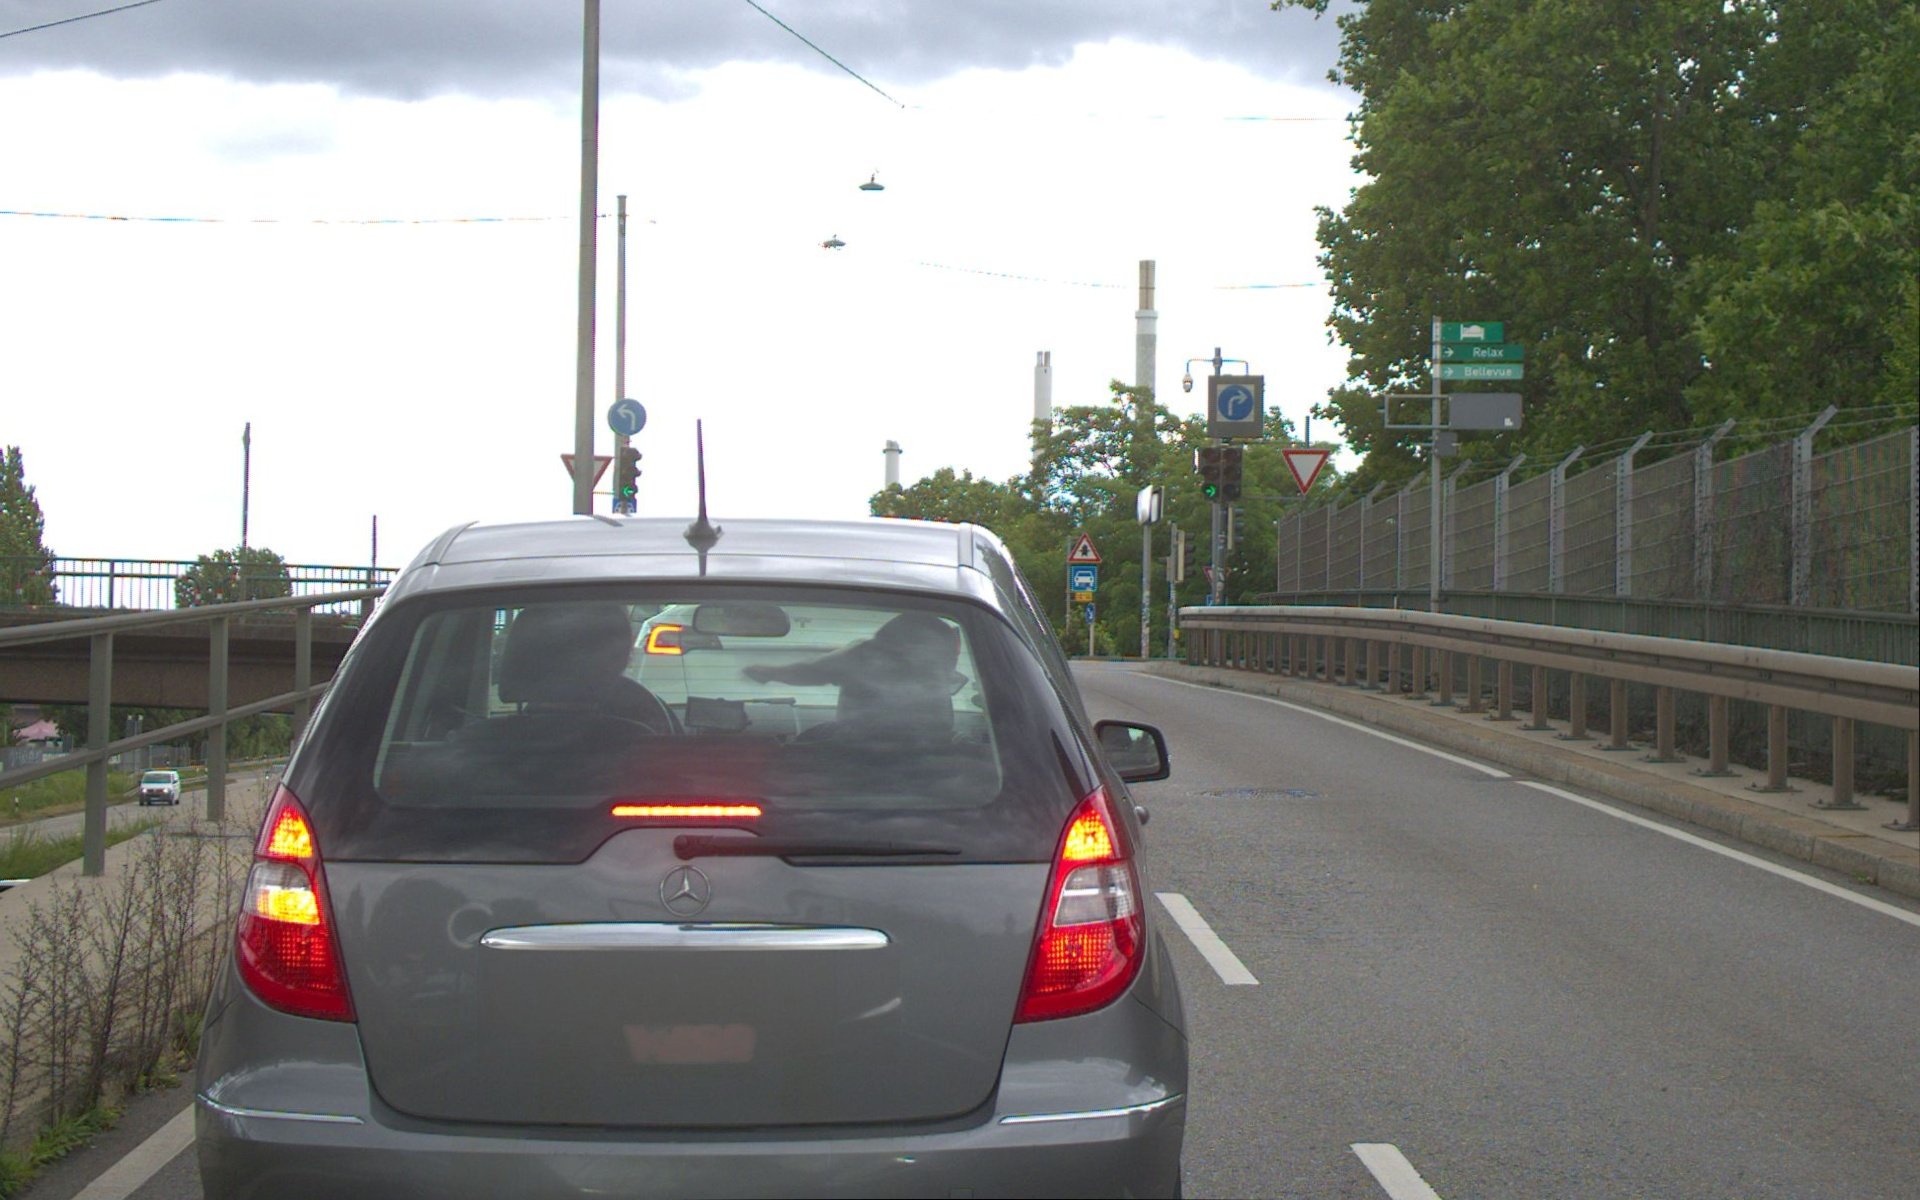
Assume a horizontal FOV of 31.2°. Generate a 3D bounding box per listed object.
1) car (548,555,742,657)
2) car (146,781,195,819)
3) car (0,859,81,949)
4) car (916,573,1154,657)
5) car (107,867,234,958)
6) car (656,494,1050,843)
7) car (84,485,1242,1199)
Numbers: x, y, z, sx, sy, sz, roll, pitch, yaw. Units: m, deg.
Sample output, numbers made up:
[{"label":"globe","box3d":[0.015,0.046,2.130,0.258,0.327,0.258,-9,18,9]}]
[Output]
[{"label":"car","box3d":[-6.050,0.088,65.677,1.993,1.864,4.213,0,1,-32]},{"label":"car","box3d":[-45.800,11.580,199.502,1.993,2.060,5.177,1,-2,-4]},{"label":"car","box3d":[-19.631,6.298,71.472,1.898,1.616,4.179,1,-2,-4]},{"label":"car","box3d":[1.481,0.297,66.972,4.332,1.571,1.839,0,1,-33]},{"label":"car","box3d":[-16.198,6.397,70.707,1.898,1.616,4.179,1,-2,-4]},{"label":"car","box3d":[-0.629,0.318,19.265,1.931,1.711,4.406,1,1,-3]},{"label":"car","box3d":[-0.506,0.588,7.570,1.857,1.583,4.000,1,1,-1]}]
